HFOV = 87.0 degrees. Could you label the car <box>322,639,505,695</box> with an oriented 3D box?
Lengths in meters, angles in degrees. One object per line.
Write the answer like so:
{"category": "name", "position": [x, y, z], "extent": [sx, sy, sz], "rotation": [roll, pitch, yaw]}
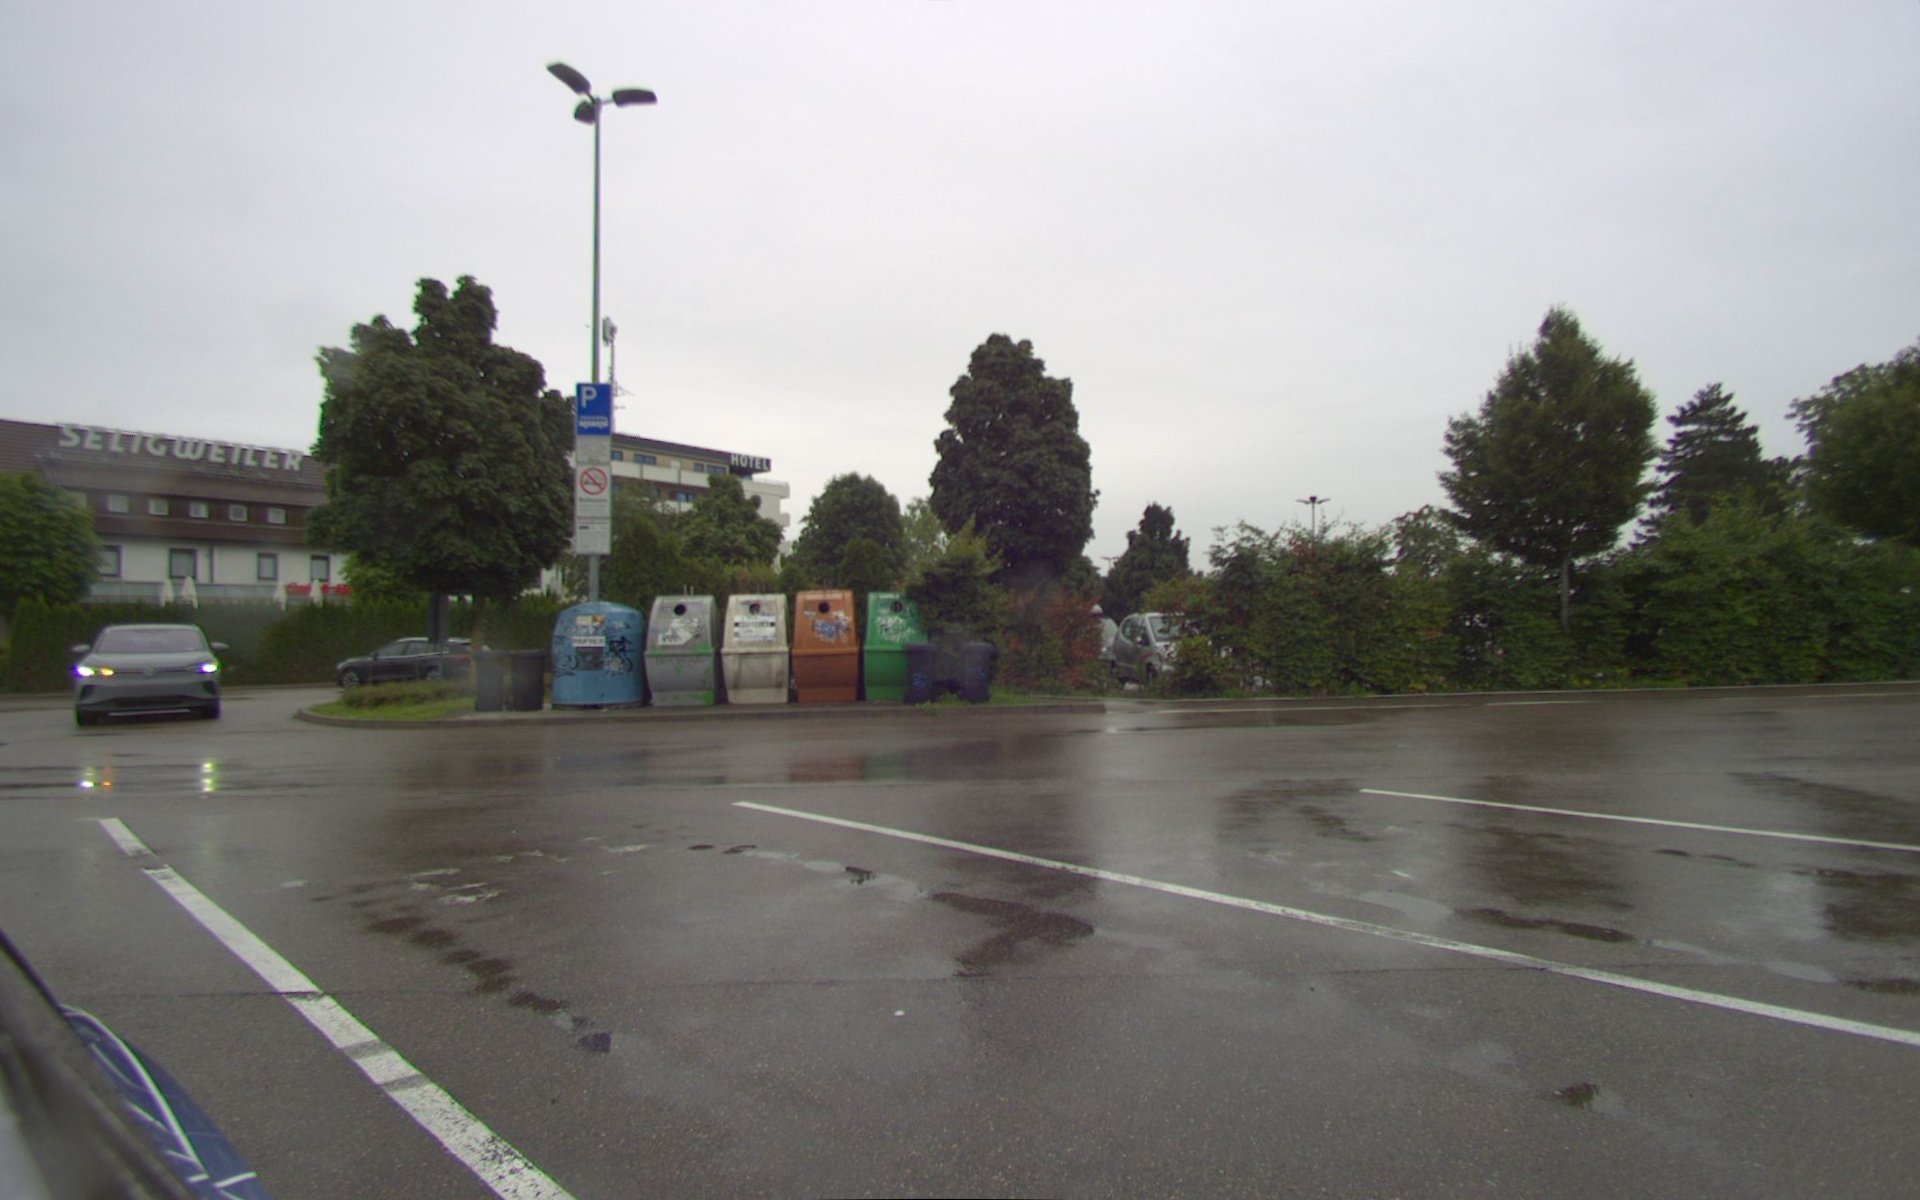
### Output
{"category": "car", "position": [-15.324, 1.872, 28.485], "extent": [4.279, 1.460, 1.865], "rotation": [-1, -2, 8]}

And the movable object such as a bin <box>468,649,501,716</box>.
{"category": "movable object such as a bin", "position": [-7.111, 1.226, 15.133], "extent": [0.427, 0.956, 0.475], "rotation": [-1, -1, -25]}

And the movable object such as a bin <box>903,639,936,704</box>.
{"category": "movable object such as a bin", "position": [-0.601, 1.045, 14.993], "extent": [0.432, 0.930, 0.508], "rotation": [-2, -2, 1]}

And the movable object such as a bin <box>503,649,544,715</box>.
{"category": "movable object such as a bin", "position": [-6.556, 1.218, 15.213], "extent": [0.450, 0.956, 0.400], "rotation": [-2, -1, 41]}

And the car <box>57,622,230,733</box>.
{"category": "car", "position": [-13.721, 1.226, 17.263], "extent": [1.967, 1.586, 4.511], "rotation": [0, -2, -35]}

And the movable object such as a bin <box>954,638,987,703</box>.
{"category": "movable object such as a bin", "position": [0.150, 1.017, 14.726], "extent": [0.432, 0.923, 0.509], "rotation": [-2, -2, -1]}

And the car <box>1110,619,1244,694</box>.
{"category": "car", "position": [4.103, 1.028, 19.674], "extent": [1.782, 1.278, 3.647], "rotation": [-1, -1, 0]}
